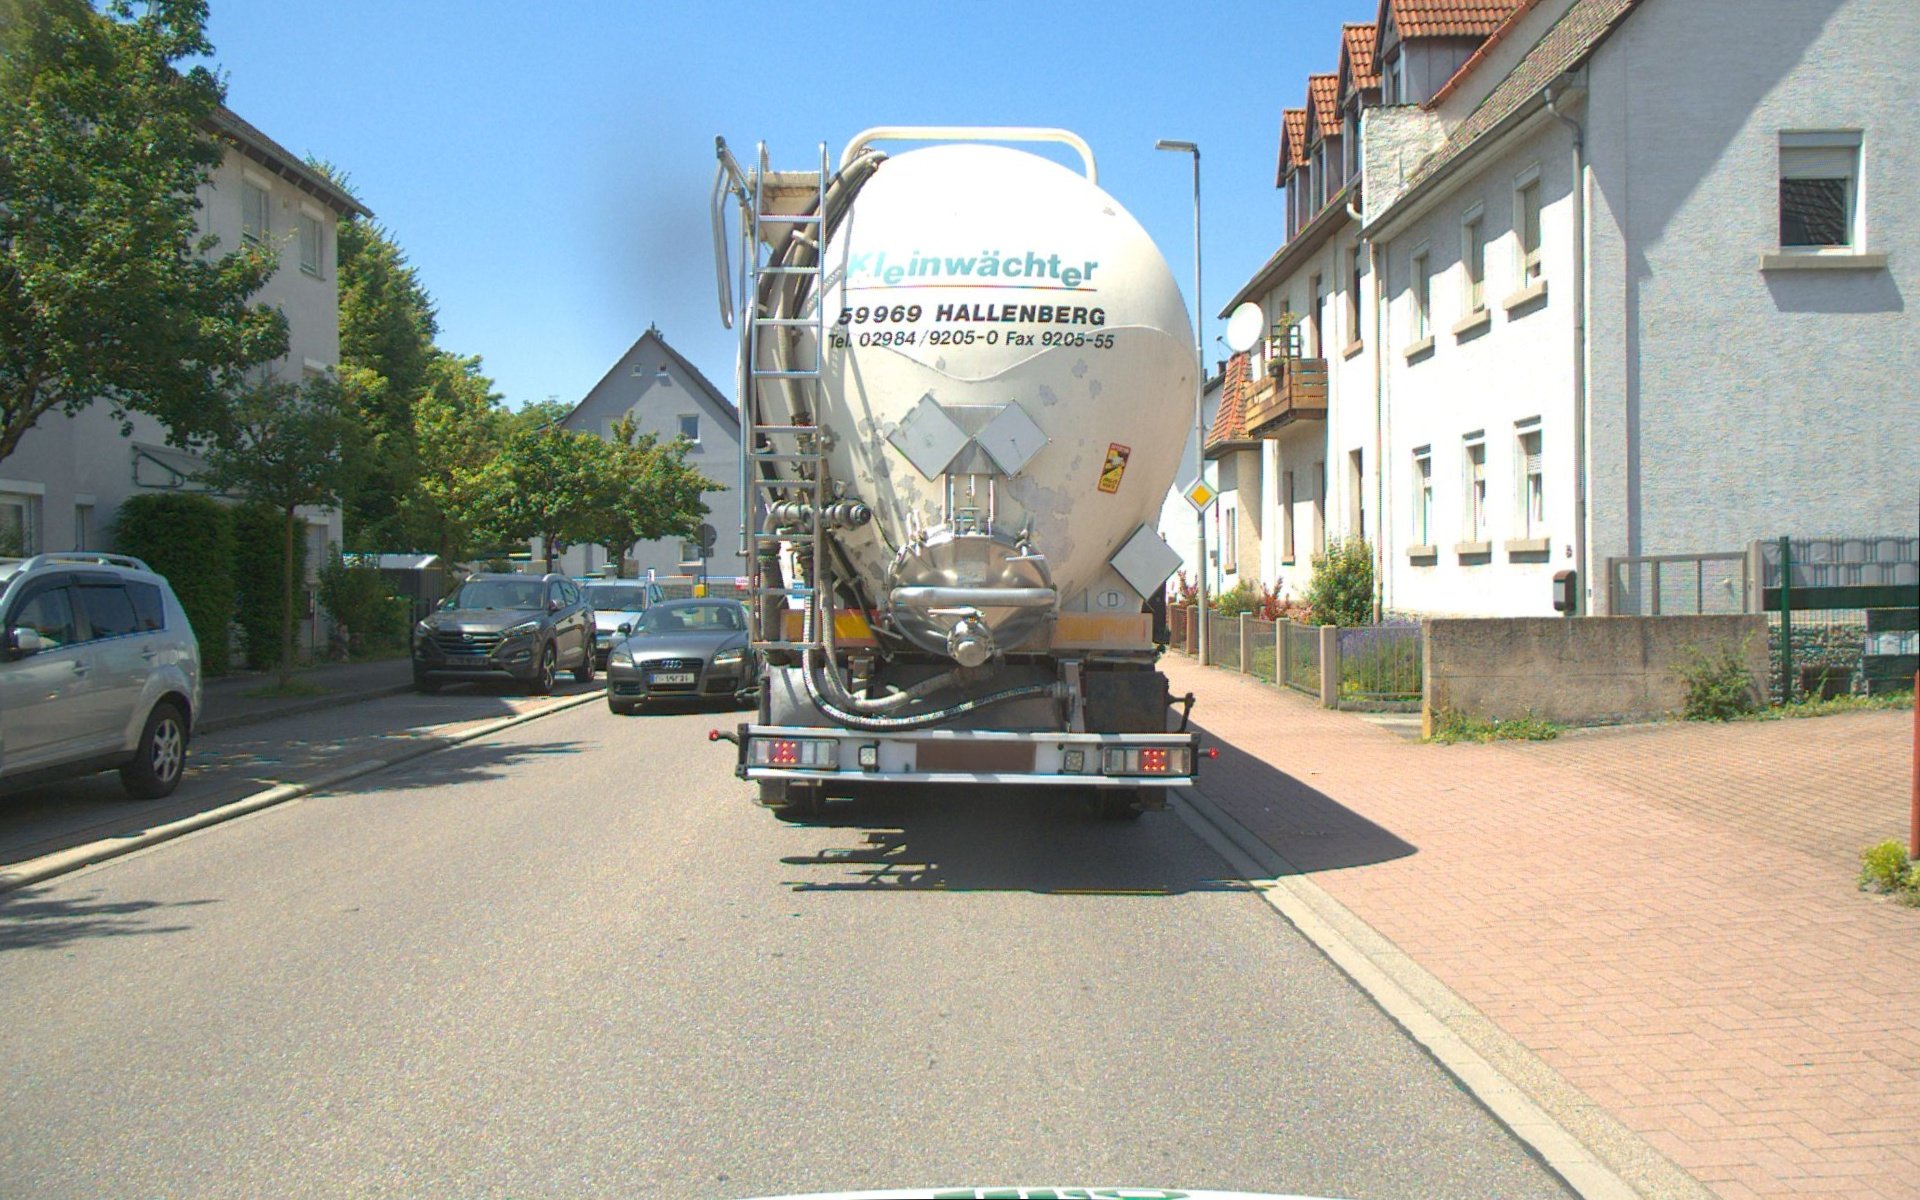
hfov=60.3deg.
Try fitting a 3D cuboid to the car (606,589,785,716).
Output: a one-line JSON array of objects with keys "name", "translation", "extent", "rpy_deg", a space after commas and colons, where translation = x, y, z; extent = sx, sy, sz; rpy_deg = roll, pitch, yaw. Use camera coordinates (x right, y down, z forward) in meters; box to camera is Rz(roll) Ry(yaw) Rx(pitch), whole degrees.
[{"name": "car", "translation": [-3.304, 0.602, 21.331], "extent": [1.671, 1.394, 3.868], "rpy_deg": [-3, 1, -1]}]

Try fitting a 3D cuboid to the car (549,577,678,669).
[{"name": "car", "translation": [-6.396, 0.379, 30.870], "extent": [1.663, 1.608, 3.837], "rpy_deg": [0, 1, -1]}]

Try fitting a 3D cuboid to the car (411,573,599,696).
[{"name": "car", "translation": [-6.527, 0.443, 24.134], "extent": [1.657, 1.648, 3.997], "rpy_deg": [0, 1, 0]}]

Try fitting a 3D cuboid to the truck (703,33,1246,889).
[{"name": "truck", "translation": [-0.085, -0.708, 12.727], "extent": [2.588, 4.086, 9.558], "rpy_deg": [0, 1, -2]}]

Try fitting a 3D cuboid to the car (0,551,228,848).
[{"name": "car", "translation": [-6.411, 0.560, 10.440], "extent": [1.672, 1.716, 4.524], "rpy_deg": [0, 1, -2]}]
